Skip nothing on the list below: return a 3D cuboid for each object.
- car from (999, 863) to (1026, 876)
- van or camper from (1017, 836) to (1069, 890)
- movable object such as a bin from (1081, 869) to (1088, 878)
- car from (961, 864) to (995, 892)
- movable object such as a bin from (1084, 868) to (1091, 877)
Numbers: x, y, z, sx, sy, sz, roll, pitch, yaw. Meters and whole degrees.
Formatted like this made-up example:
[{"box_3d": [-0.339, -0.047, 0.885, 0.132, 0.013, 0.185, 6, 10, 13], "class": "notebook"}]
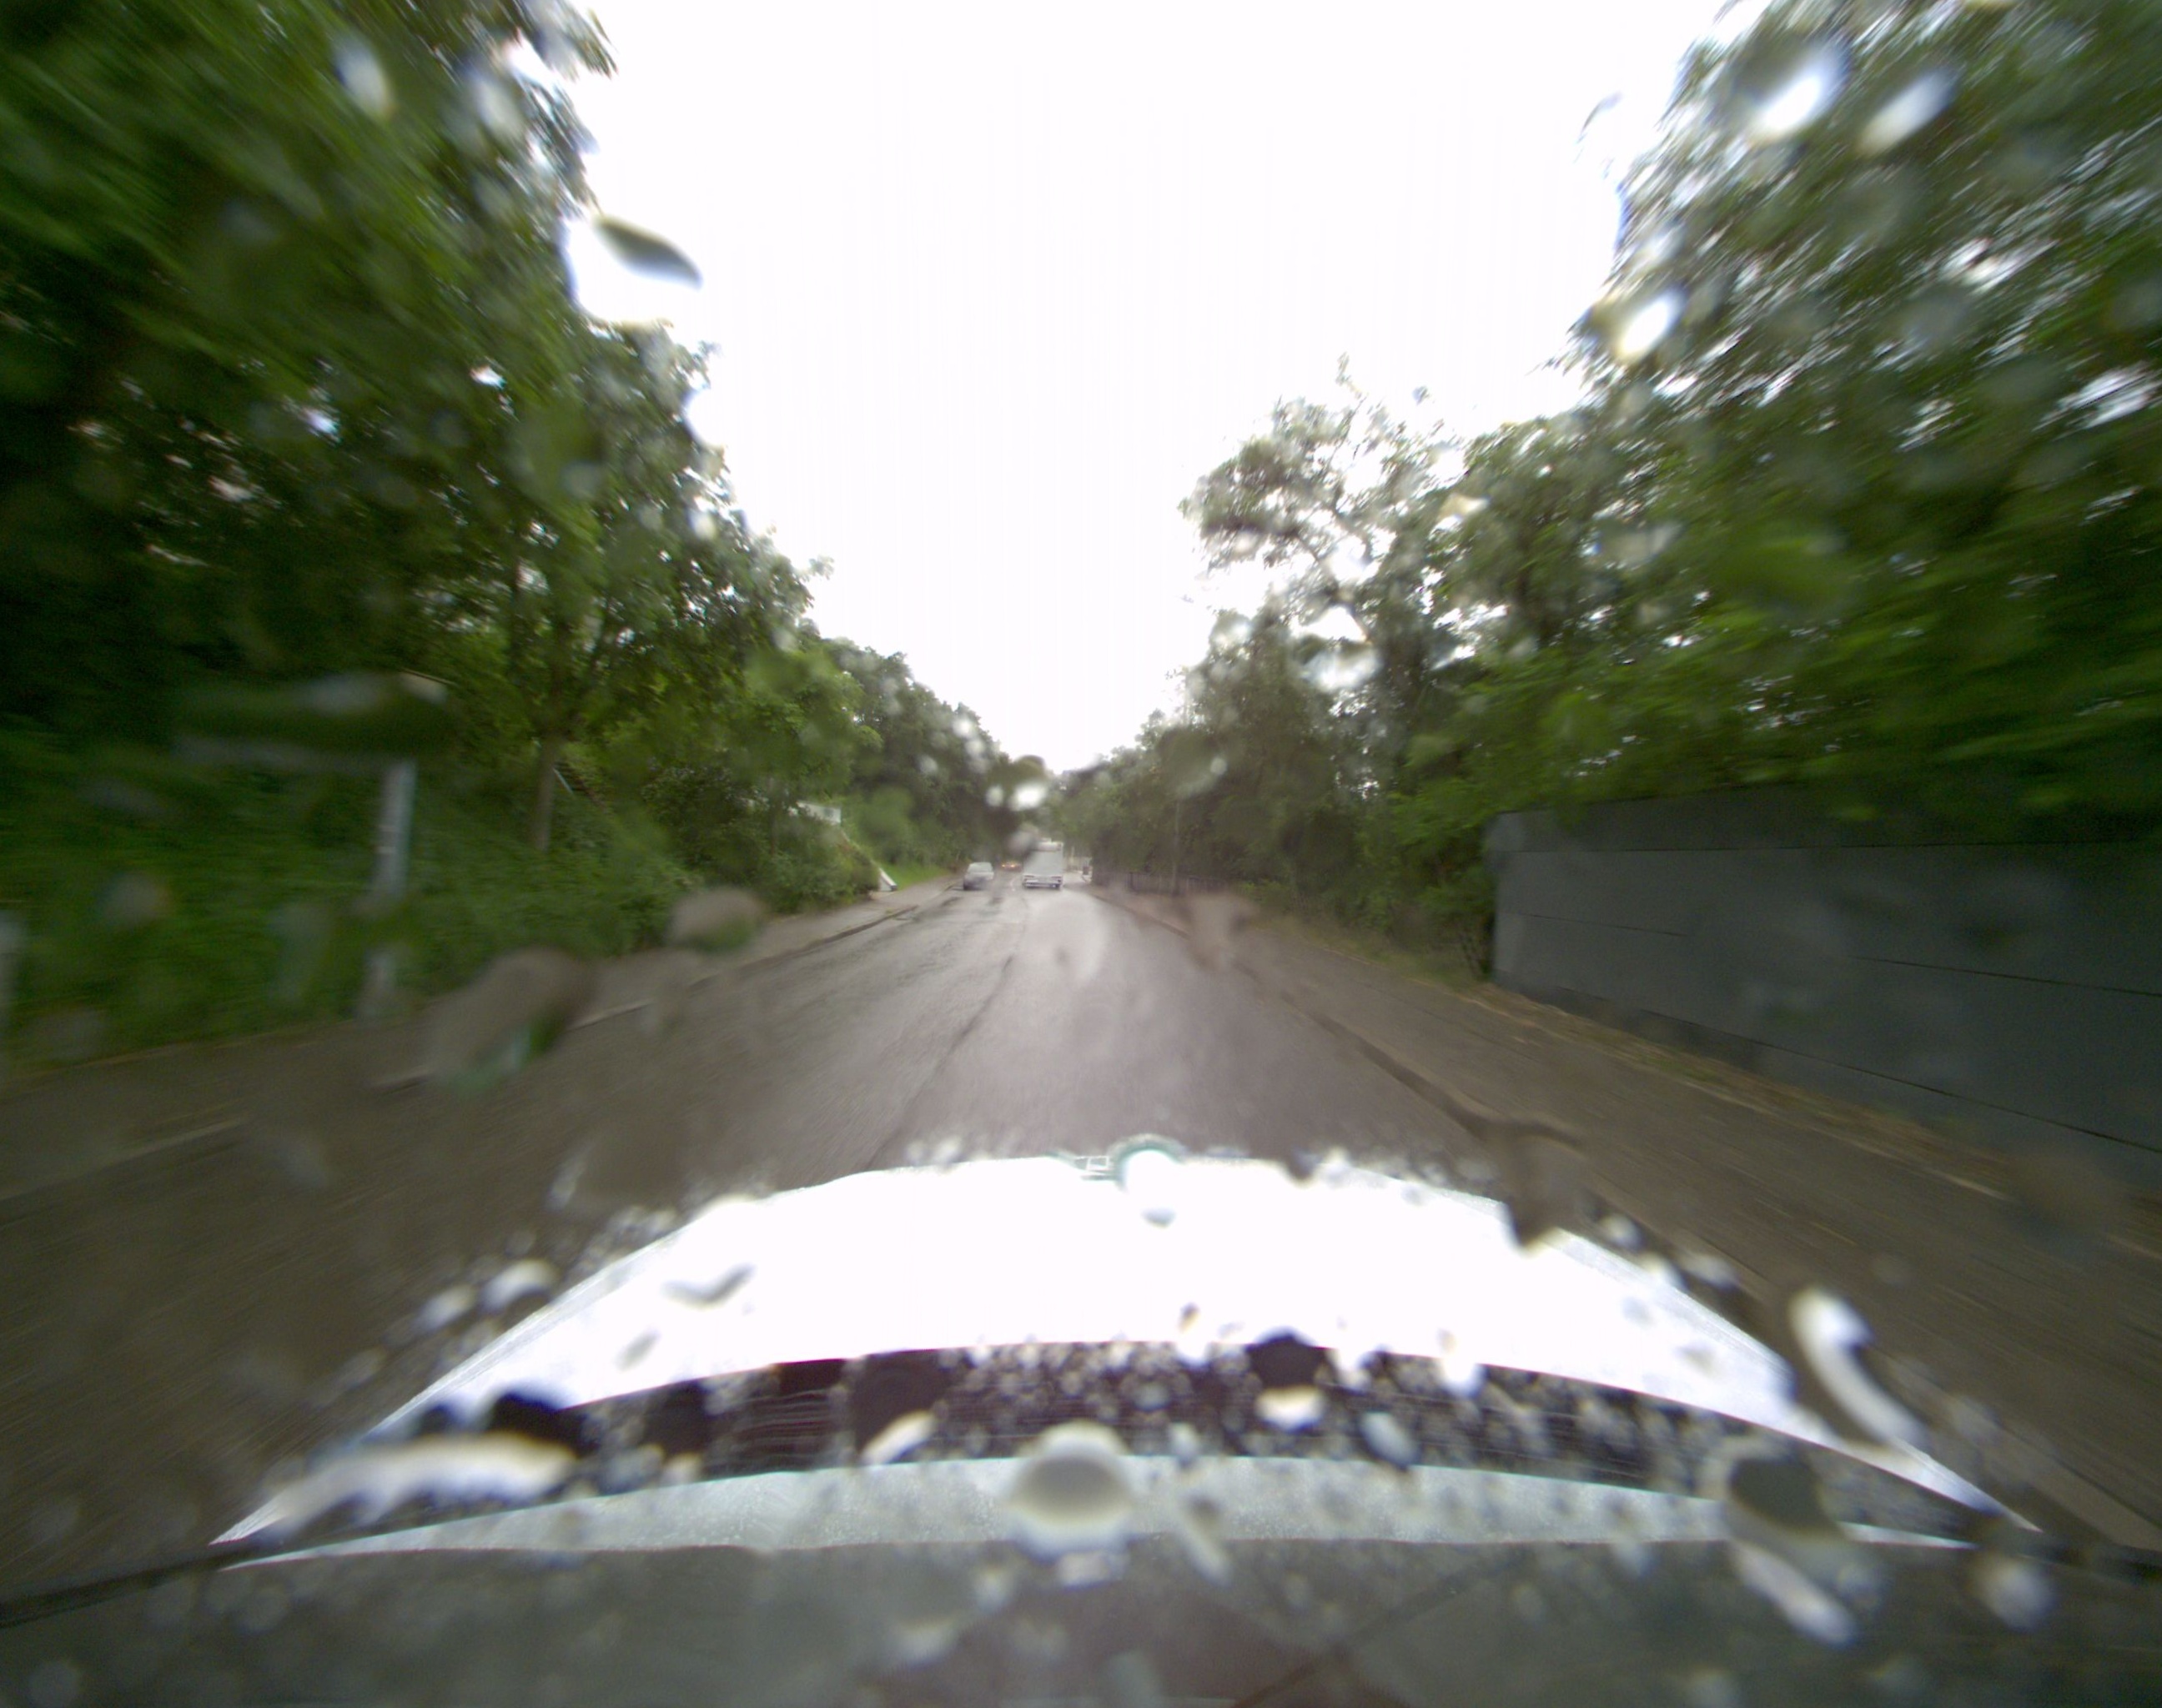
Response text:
[{"box_3d": [-9.073, 2.058, 108.080, 1.979, 1.562, 4.670, 2, 0, 14], "class": "car"}, {"box_3d": [-2.347, 0.574, 48.460, 2.538, 2.925, 5.932, -2, -2, -7], "class": "van or camper"}, {"box_3d": [0.478, 2.424, 100.184, 0.774, 1.133, 0.739, 2, -1, 4], "class": "movable object such as a bin"}, {"box_3d": [-5.366, 1.235, 42.856, 1.648, 1.385, 3.523, 0, -1, -5], "class": "car"}, {"box_3d": [0.853, 2.275, 101.709, 0.774, 1.133, 0.739, 2, -1, 4], "class": "movable object such as a bin"}]
